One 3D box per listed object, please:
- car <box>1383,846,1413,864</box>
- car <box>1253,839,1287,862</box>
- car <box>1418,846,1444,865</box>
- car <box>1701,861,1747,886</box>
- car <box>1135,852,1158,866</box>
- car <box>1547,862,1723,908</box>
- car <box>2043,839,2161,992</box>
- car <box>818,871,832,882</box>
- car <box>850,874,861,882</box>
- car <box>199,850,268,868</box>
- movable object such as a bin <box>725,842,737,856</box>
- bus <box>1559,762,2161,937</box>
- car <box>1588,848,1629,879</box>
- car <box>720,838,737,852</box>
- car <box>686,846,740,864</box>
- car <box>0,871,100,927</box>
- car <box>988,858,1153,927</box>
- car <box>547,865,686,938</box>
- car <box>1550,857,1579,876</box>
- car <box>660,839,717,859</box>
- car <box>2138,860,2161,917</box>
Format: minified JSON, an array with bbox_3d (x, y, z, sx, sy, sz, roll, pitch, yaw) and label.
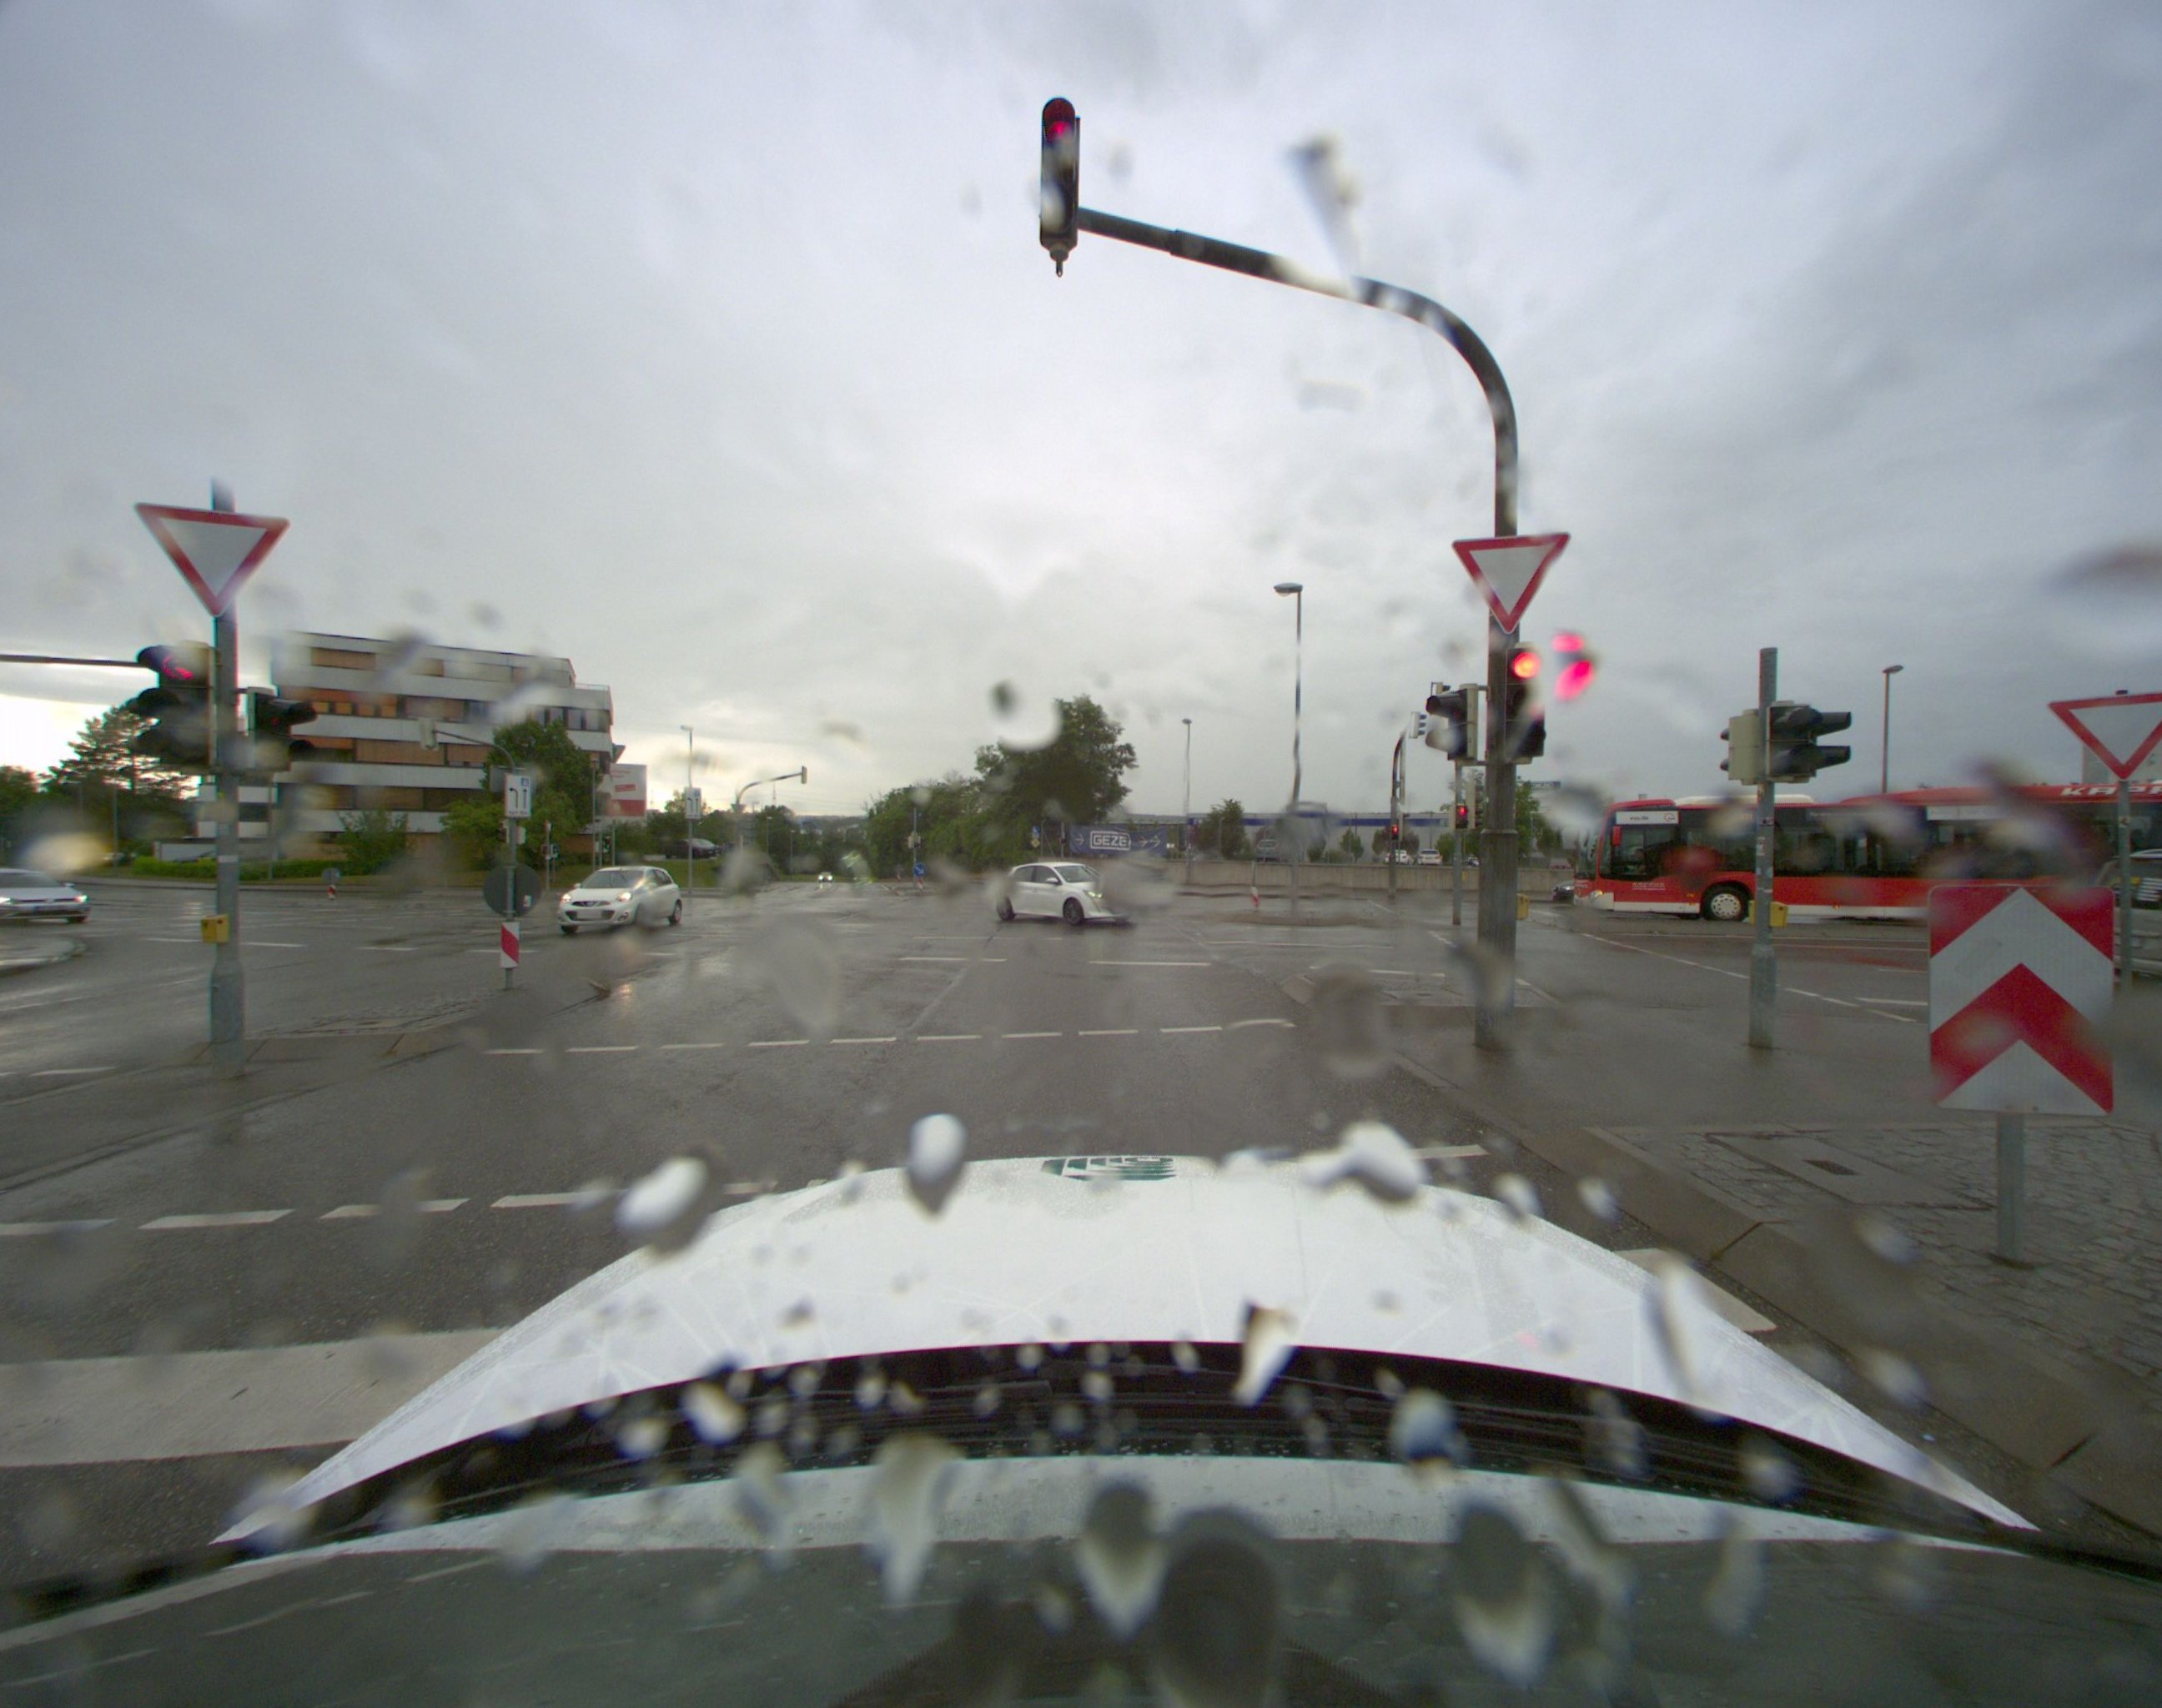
[{"bbox_3d":[26.466,0.122,67.889,1.800,1.434,4.128,-1,-1,28],"label":"car"},{"bbox_3d":[13.346,-0.234,57.289,1.727,1.553,3.550,-1,-1,23],"label":"car"},{"bbox_3d":[28.893,0.144,67.199,1.841,1.526,4.127,-1,-1,25],"label":"car"},{"bbox_3d":[52.952,1.586,67.123,1.976,2.014,4.022,-1,-1,24],"label":"car"},{"bbox_3d":[7.759,0.595,95.905,1.651,1.606,3.550,-1,-1,23],"label":"car"},{"bbox_3d":[17.622,0.956,26.159,4.344,1.354,1.834,0,0,18],"label":"car"},{"bbox_3d":[15.382,0.724,9.828,4.430,1.844,2.011,-1,-1,22],"label":"car"},{"bbox_3d":[-35.598,3.135,113.065,1.667,1.494,3.973,0,-1,-20],"label":"car"},{"bbox_3d":[-43.600,4.600,157.244,1.720,1.494,3.985,0,-1,-11],"label":"car"},{"bbox_3d":[-69.925,0.402,67.271,3.779,1.399,1.977,0,0,-40],"label":"car"},{"bbox_3d":[-37.767,-0.516,87.888,1.089,1.437,1.434,1,-3,-25],"label":"movable object such as a bin"},{"bbox_3d":[18.628,-0.201,19.353,12.152,3.576,3.001,2,0,19],"label":"bus"},{"bbox_3d":[36.159,0.645,55.877,1.727,2.014,3.844,-1,-1,23],"label":"car"},{"bbox_3d":[-41.789,-1.025,96.491,1.836,1.442,3.967,1,-2,-25],"label":"car"},{"bbox_3d":[-32.649,0.106,72.251,3.958,1.586,1.909,0,-2,14],"label":"car"},{"bbox_3d":[-28.743,1.168,21.781,4.479,1.363,1.771,-1,-1,20],"label":"car"},{"bbox_3d":[-0.333,0.866,19.824,1.881,1.508,3.932,0,-1,-43],"label":"car"},{"bbox_3d":[-11.200,1.072,19.946,1.619,1.505,3.811,-2,0,-8],"label":"car"},{"bbox_3d":[43.146,1.084,72.695,1.905,1.589,3.811,0,0,25],"label":"car"},{"bbox_3d":[-33.434,-0.428,69.353,3.962,1.586,1.907,0,-2,10],"label":"car"},{"bbox_3d":[31.674,0.956,21.491,4.344,1.538,1.834,0,0,18],"label":"car"}]
